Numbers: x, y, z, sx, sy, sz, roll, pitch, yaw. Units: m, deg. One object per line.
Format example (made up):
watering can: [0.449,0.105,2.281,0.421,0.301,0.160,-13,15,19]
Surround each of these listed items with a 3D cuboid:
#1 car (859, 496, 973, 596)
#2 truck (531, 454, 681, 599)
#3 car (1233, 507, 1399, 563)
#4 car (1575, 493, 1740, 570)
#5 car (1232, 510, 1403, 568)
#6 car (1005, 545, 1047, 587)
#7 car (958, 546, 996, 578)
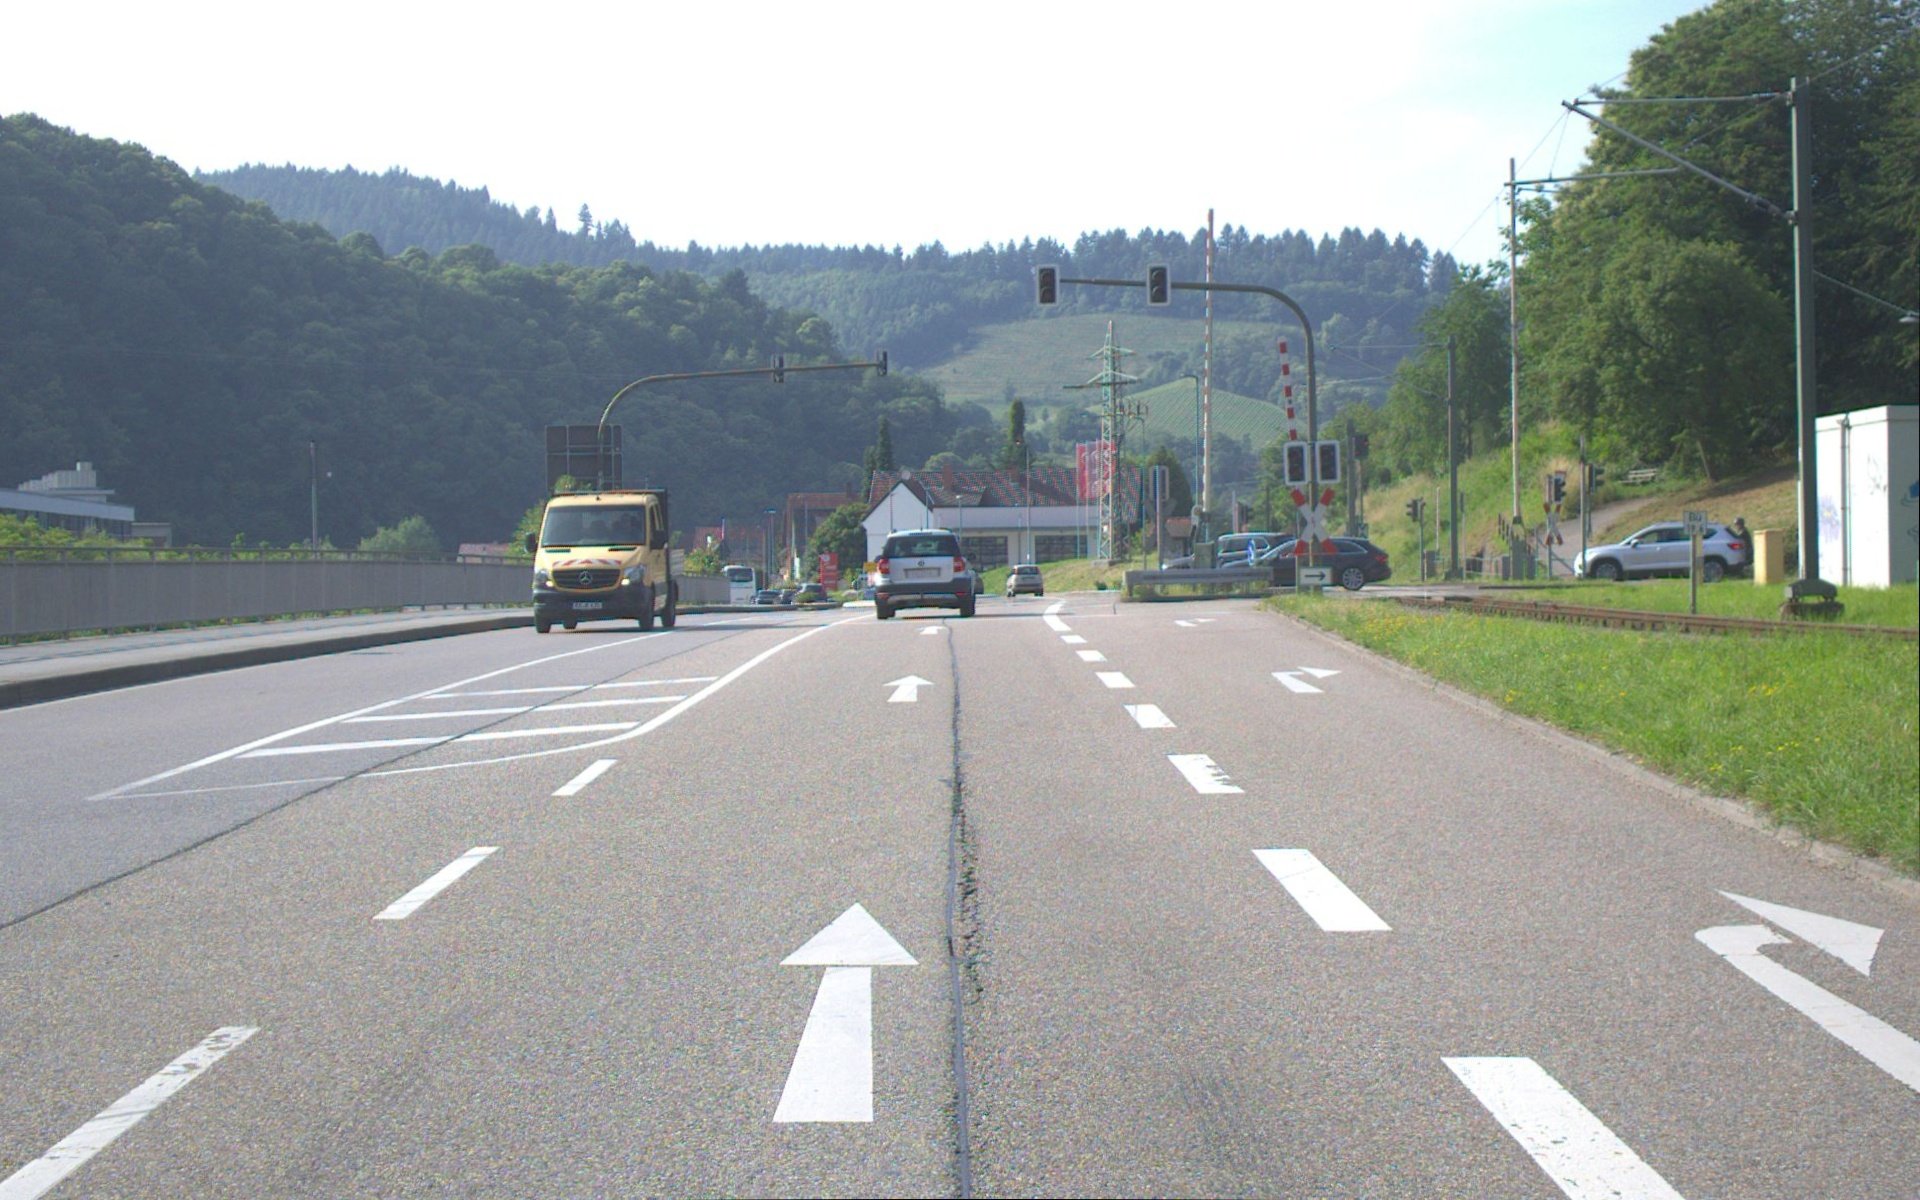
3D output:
car: [-0.792,-1.019,64.223,1.993,1.717,3.990,-3,1,0]
truck: [-6.000,-1.279,58.908,1.993,2.335,5.699,-1,2,-1]
car: [9.183,-1.681,88.516,3.989,1.350,1.876,-1,2,15]
car: [17.753,-1.749,87.507,3.989,1.875,1.876,-1,2,15]
car: [8.944,-1.526,85.995,3.989,1.350,1.876,-1,2,15]
car: [3.364,-1.731,175.514,1.993,2.007,4.000,-2,1,-1]
car: [0.935,-2.113,189.845,1.993,1.612,4.000,-2,1,-1]
